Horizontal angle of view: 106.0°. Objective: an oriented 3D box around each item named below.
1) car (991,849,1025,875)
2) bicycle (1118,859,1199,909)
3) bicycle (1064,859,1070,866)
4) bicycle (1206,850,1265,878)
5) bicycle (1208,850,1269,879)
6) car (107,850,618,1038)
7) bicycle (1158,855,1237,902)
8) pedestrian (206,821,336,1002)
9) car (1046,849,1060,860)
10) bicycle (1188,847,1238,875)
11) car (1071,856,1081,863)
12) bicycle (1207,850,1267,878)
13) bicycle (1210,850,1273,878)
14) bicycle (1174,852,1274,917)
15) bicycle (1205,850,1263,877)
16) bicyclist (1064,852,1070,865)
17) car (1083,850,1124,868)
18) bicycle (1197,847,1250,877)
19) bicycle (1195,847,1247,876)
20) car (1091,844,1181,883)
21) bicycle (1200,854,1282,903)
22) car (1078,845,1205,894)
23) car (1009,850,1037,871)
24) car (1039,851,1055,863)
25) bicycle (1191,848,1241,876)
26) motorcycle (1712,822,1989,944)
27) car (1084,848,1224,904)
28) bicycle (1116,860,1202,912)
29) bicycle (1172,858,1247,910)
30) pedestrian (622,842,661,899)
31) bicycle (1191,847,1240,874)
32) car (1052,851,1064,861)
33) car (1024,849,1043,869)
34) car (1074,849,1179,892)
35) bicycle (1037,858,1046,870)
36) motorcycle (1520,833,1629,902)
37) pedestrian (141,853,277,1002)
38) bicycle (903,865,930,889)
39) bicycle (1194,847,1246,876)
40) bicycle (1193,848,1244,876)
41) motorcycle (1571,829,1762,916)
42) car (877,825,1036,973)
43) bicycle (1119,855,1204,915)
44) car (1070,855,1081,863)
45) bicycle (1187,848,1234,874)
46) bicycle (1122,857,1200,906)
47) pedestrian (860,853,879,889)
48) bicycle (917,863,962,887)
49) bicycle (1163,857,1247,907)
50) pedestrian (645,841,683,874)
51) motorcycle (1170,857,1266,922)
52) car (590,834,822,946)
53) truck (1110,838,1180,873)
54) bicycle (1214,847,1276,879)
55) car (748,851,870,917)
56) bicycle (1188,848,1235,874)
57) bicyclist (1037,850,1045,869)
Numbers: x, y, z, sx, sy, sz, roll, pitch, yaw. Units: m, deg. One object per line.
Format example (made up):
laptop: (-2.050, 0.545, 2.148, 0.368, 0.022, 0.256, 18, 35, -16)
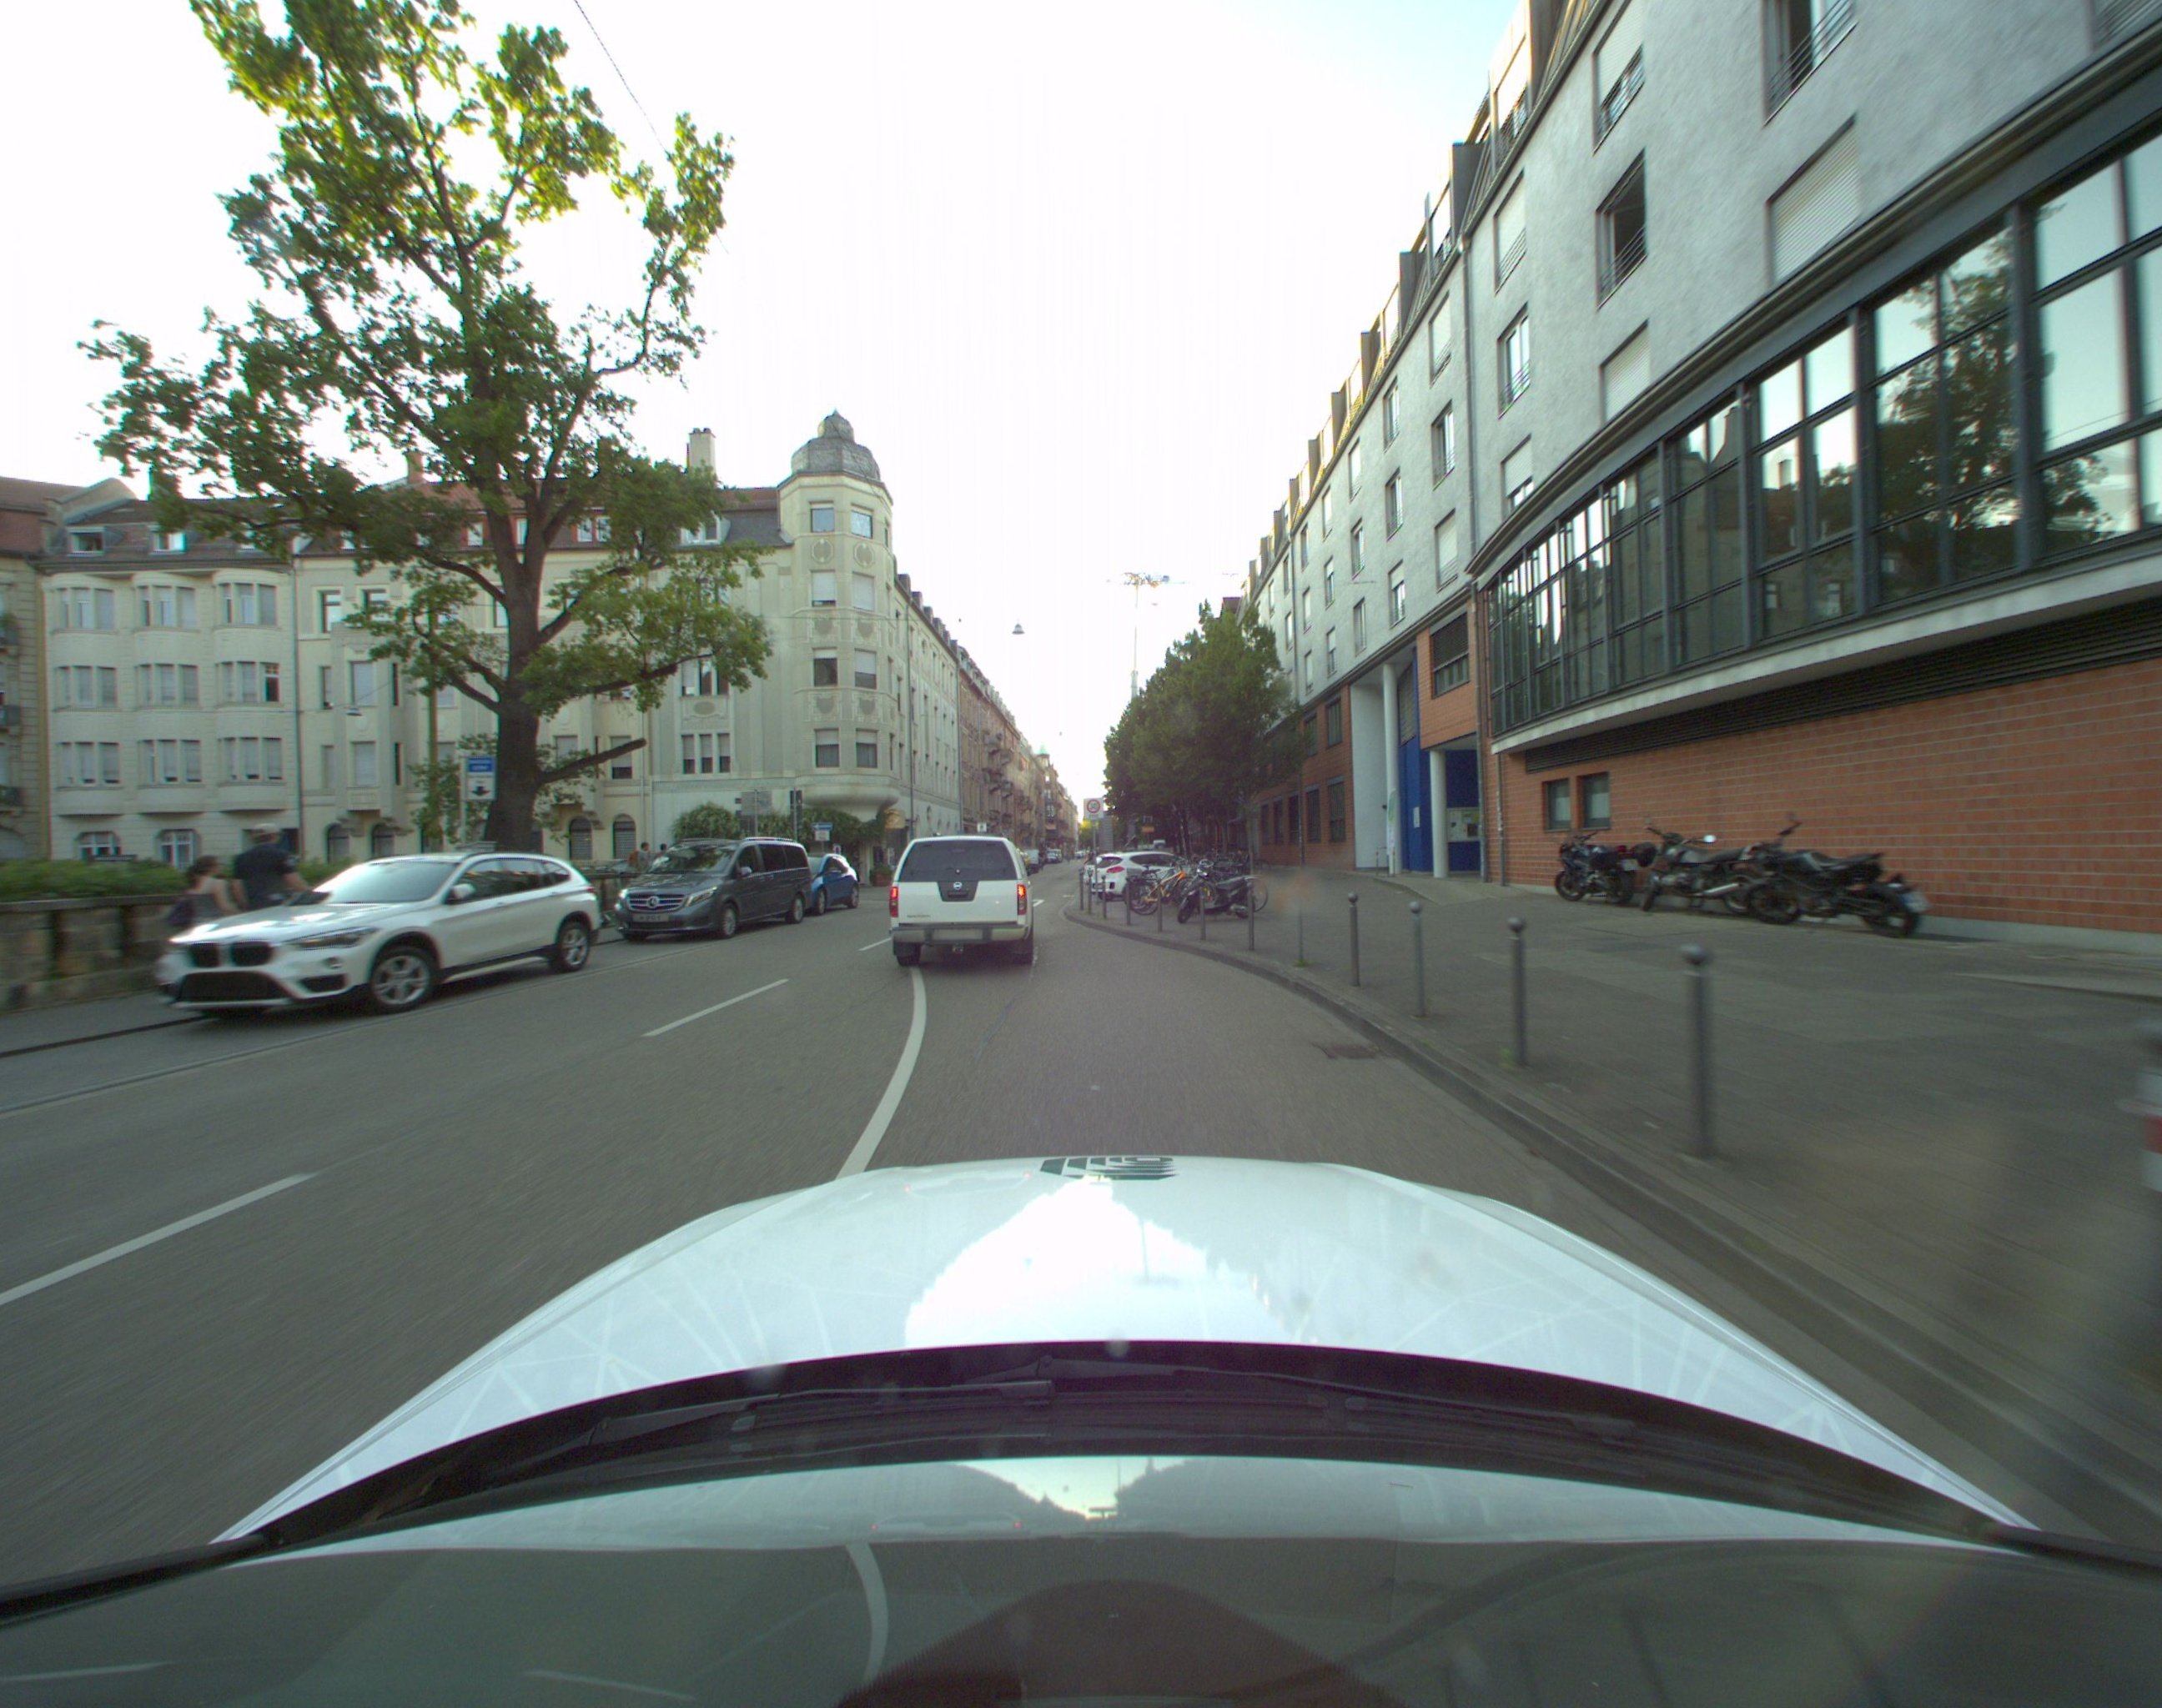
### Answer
car: (-5.519, 0.589, 62.236, 1.897, 1.925, 4.950, -1, 0, 2)
bicycle: (1.848, 0.703, 19.532, 1.852, 1.066, 0.445, -4, 0, 0)
bicycle: (-1.940, 1.200, 113.256, 0.798, 0.947, 2.004, -1, 0, 0)
bicycle: (6.938, 0.432, 36.653, 2.523, 1.166, 0.562, -2, 0, 4)
bicycle: (6.838, 0.439, 35.434, 2.523, 1.166, 0.562, -2, 0, 4)
car: (-7.587, 0.788, 9.396, 1.865, 1.592, 4.468, -2, 0, 0)
bicycle: (2.997, 0.629, 20.956, 1.905, 1.066, 0.524, -4, 0, 0)
pedestrian: (-8.933, 0.606, 9.015, 0.580, 1.905, 0.802, -2, 0, -2)
car: (-4.016, 0.045, 116.624, 1.703, 1.530, 4.001, -1, 0, 2)
bicycle: (7.228, 0.371, 44.577, 2.523, 1.244, 0.600, -7, -1, 3)
car: (-1.138, 1.232, 178.952, 1.838, 1.552, 4.361, -1, 0, 5)
bicycle: (6.900, 0.425, 36.044, 2.523, 1.166, 0.562, -2, 0, 4)
bicycle: (6.833, 0.434, 34.760, 2.523, 0.959, 0.681, -5, 0, 4)
bicycle: (2.921, 0.617, 16.747, 1.852, 1.146, 0.659, -5, 0, 1)
bicycle: (6.972, 0.444, 37.264, 2.523, 1.166, 0.562, -2, 0, 4)
bicyclist: (-1.948, 0.589, 113.191, 0.798, 1.849, 0.943, -1, 0, -1)
car: (2.365, 0.516, 85.631, 4.173, 1.780, 1.823, -1, 0, 7)
bicycle: (7.040, 0.395, 40.269, 2.523, 1.379, 0.600, -2, 0, 4)
bicycle: (7.037, 0.396, 40.984, 2.523, 1.379, 0.600, -2, 0, 4)
car: (2.450, 0.401, 35.959, 3.618, 1.580, 1.699, -2, 0, -32)
bicycle: (3.878, 0.595, 19.832, 1.852, 1.066, 0.524, -4, 0, 0)
car: (2.116, 0.520, 28.124, 4.014, 1.473, 1.857, -2, -1, -32)
car: (-4.998, 0.533, 70.377, 1.986, 1.653, 4.001, -1, 0, 1)
car: (-4.592, 0.406, 110.592, 1.784, 1.530, 4.002, -1, 0, 2)
bicycle: (7.157, 0.431, 43.162, 2.523, 1.379, 0.600, -2, 0, 4)
motorcycle: (8.481, 0.278, 9.199, 0.797, 1.139, 2.441, -4, 0, 1)
car: (2.275, 0.647, 25.368, 4.010, 1.506, 1.754, -2, 0, -28)
bicycle: (1.756, 0.723, 18.520, 1.852, 1.038, 0.472, -4, 0, 0)
bicycle: (2.844, 0.653, 18.030, 1.535, 1.038, 0.472, -4, 0, 0)
pedestrian: (-13.560, 0.508, 25.146, 0.704, 1.721, 0.837, -2, 0, 0)
bicycle: (7.222, 0.369, 43.880, 2.523, 1.379, 0.600, -2, 0, 4)
car: (-3.848, 0.350, 134.280, 1.841, 1.552, 4.354, -1, 0, -1)
car: (-4.772, 0.521, 81.634, 1.553, 1.921, 3.857, 0, 0, 1)
car: (1.872, 0.630, 33.085, 4.011, 1.537, 1.620, -2, 0, -29)
bicycle: (-3.552, 0.909, 72.737, 0.612, 1.040, 1.904, -2, 0, 2)
motorcycle: (8.815, 0.229, 14.667, 0.586, 1.103, 2.083, -4, 0, -1)
pedestrian: (-9.560, 0.771, 8.965, 0.580, 1.552, 0.839, -1, 0, -2)
bicycle: (-7.341, 1.015, 36.323, 0.420, 1.012, 1.726, -1, 1, 15)
bicycle: (7.105, 0.391, 41.682, 2.523, 1.379, 0.600, -2, 0, 4)
bicycle: (7.171, 0.415, 42.448, 2.523, 1.379, 0.600, -2, 0, 4)
motorcycle: (8.684, 0.258, 12.256, 0.775, 1.139, 2.407, -3, 0, -11)
car: (-1.695, 0.561, 12.420, 1.929, 1.794, 4.615, -1, 0, -4)
bicycle: (1.714, 0.657, 17.486, 1.702, 1.176, 0.472, -4, 0, 0)
car: (-1.179, 0.985, 163.619, 1.838, 1.552, 4.360, -1, 0, 4)
bicycle: (7.280, 0.373, 45.923, 2.523, 1.379, 0.600, -2, 0, 4)
bicycle: (1.970, 0.674, 20.170, 1.852, 1.066, 0.445, -4, 0, 0)
pedestrian: (-9.951, 0.800, 38.264, 0.608, 1.675, 0.572, -2, 0, 42)
bicycle: (-6.474, 0.954, 37.294, 2.090, 1.094, 0.504, -1, 1, 26)
bicycle: (2.887, 0.656, 19.074, 1.852, 1.038, 0.402, -4, 0, 0)
pedestrian: (-12.853, 0.119, 25.135, 0.704, 0.980, 0.837, -2, 0, 0)
motorcycle: (2.606, 0.657, 15.569, 1.643, 1.101, 0.645, -4, 0, -7)
car: (-7.232, 0.612, 16.515, 1.985, 1.866, 5.294, -1, 0, 3)
truck: (5.817, 0.180, 74.739, 6.294, 2.977, 2.265, -1, -3, 3)
bicycle: (6.745, 0.360, 33.554, 2.336, 1.099, 0.681, -5, 0, 4)
car: (-7.085, 0.718, 21.646, 1.633, 1.555, 4.008, -1, 0, 4)
bicycle: (7.249, 0.399, 45.219, 2.523, 1.379, 0.600, -2, 0, 4)
bicyclist: (-3.562, 0.469, 72.754, 0.600, 1.684, 1.143, -2, 0, 2)
